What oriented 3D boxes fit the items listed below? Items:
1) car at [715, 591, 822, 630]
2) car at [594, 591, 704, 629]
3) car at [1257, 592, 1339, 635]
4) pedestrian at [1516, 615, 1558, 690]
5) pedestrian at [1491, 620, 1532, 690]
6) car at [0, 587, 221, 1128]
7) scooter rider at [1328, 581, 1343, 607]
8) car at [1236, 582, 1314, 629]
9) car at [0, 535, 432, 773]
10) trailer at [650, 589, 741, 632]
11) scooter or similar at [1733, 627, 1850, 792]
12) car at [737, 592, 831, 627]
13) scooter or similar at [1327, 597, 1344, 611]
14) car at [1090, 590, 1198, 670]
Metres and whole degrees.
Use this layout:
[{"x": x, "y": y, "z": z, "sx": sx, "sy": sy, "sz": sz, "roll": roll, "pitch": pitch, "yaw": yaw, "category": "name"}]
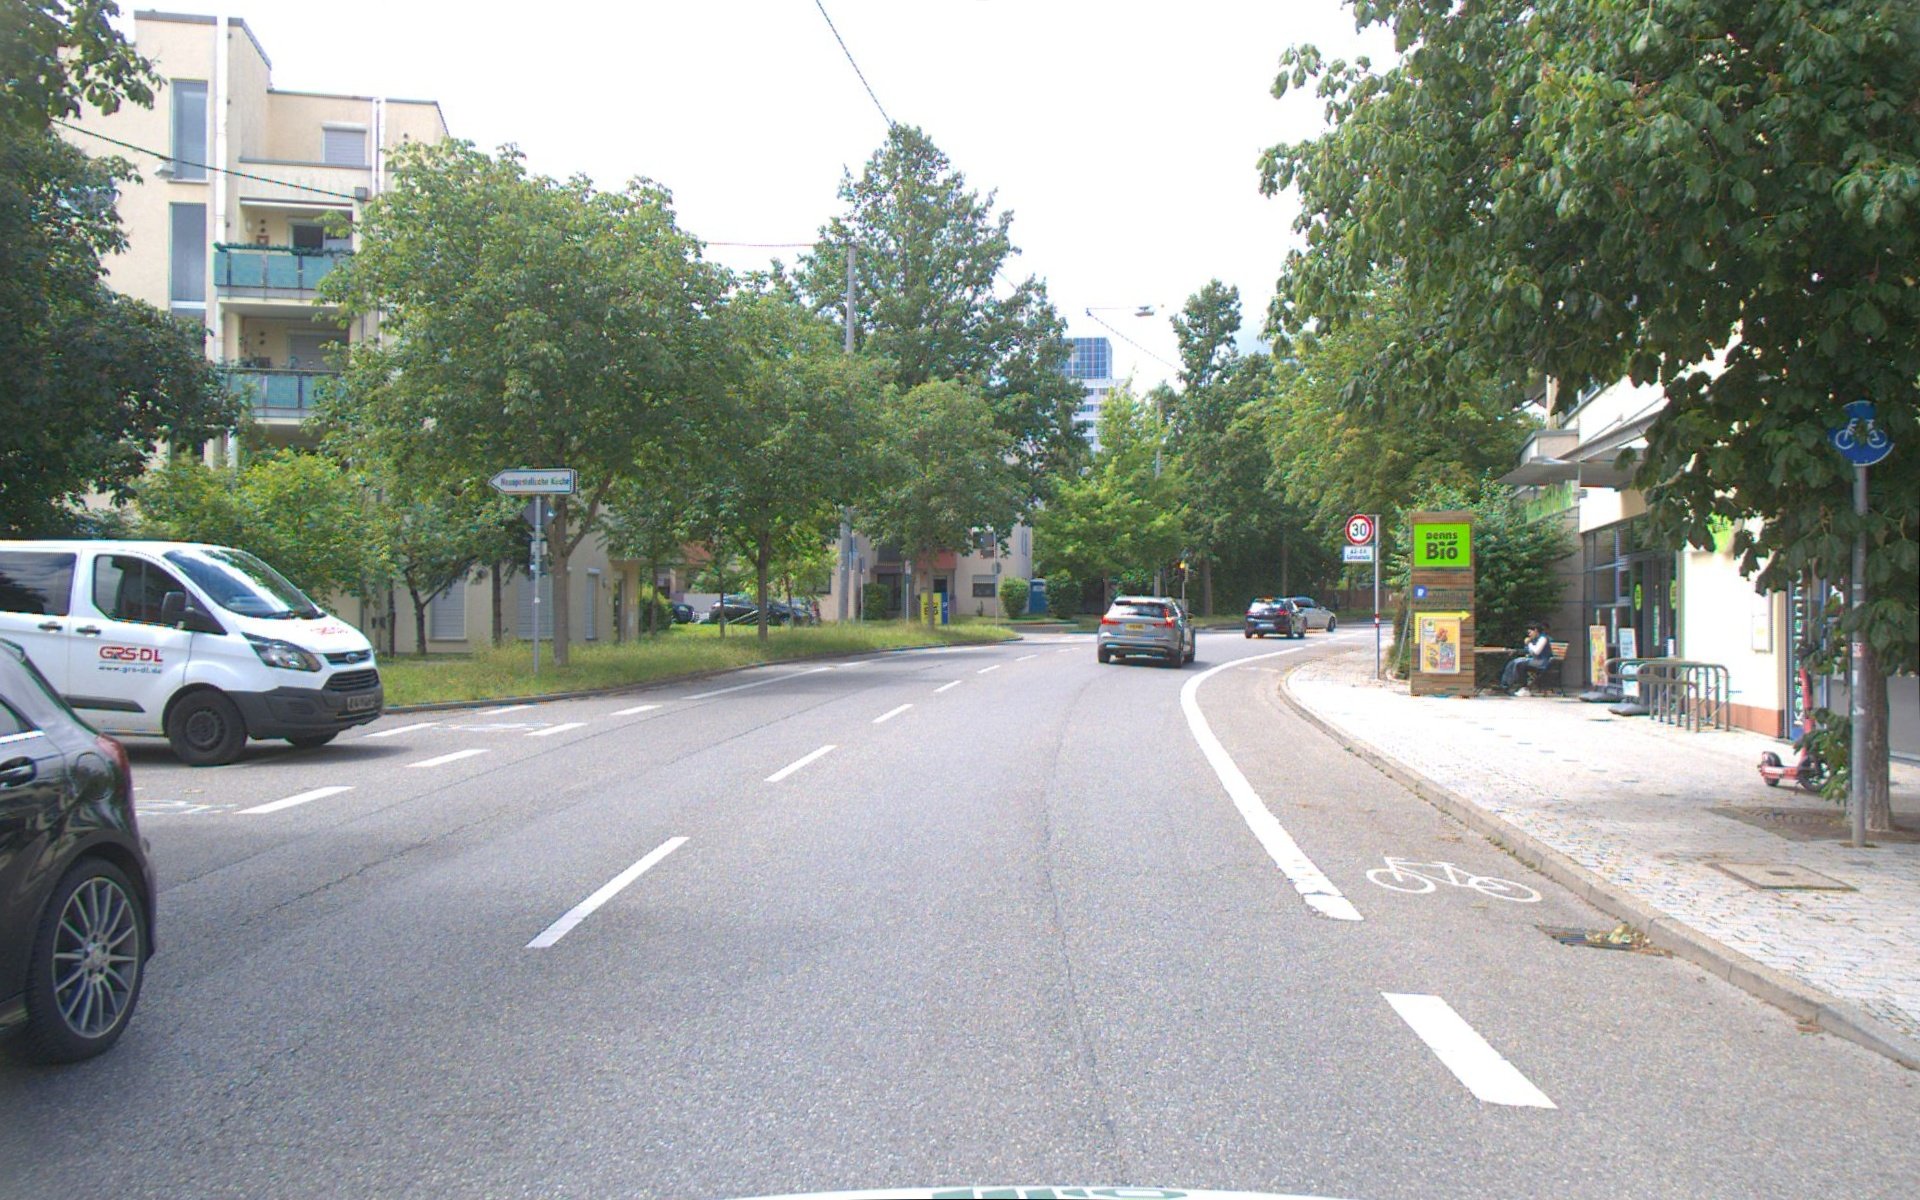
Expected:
[{"x": -7.805, "y": 0.450, "z": 67.721, "sx": 3.991, "sy": 1.424, "sz": 1.796, "roll": 1, "pitch": -4, "yaw": 7, "category": "car"}, {"x": -12.848, "y": 0.395, "z": 68.460, "sx": 4.086, "sy": 1.550, "sz": 1.903, "roll": 0, "pitch": 0, "yaw": 7, "category": "car"}, {"x": 14.627, "y": 0.616, "z": 71.467, "sx": 1.775, "sy": 1.644, "sz": 4.312, "roll": 4, "pitch": 0, "yaw": 36, "category": "car"}, {"x": 9.717, "y": 0.880, "z": 27.855, "sx": 0.564, "sy": 1.225, "sz": 0.503, "roll": 1, "pitch": -1, "yaw": 8, "category": "pedestrian"}, {"x": 9.548, "y": 0.946, "z": 28.664, "sx": 0.511, "sy": 1.202, "sz": 0.501, "roll": 1, "pitch": -1, "yaw": -3, "category": "pedestrian"}, {"x": -3.553, "y": 0.764, "z": 3.803, "sx": 1.652, "sy": 1.508, "sz": 4.227, "roll": -3, "pitch": 0, "yaw": 1, "category": "car"}, {"x": 25.404, "y": -0.409, "z": 111.881, "sx": 0.694, "sy": 1.758, "sz": 0.676, "roll": 2, "pitch": -1, "yaw": -19, "category": "scooter rider"}, {"x": 11.449, "y": 0.181, "z": 59.977, "sx": 1.769, "sy": 1.549, "sz": 4.327, "roll": 4, "pitch": 2, "yaw": 24, "category": "car"}, {"x": -7.962, "y": 0.500, "z": 15.766, "sx": 5.101, "sy": 2.028, "sz": 2.110, "roll": -2, "pitch": 1, "yaw": 7, "category": "car"}, {"x": -12.332, "y": 0.483, "z": 77.291, "sx": 3.824, "sy": 1.830, "sz": 1.631, "roll": 1, "pitch": -4, "yaw": 5, "category": "trailer"}, {"x": 7.181, "y": 0.913, "z": 14.337, "sx": 0.373, "sy": 1.339, "sz": 1.460, "roll": 1, "pitch": -1, "yaw": 5, "category": "scooter or similar"}, {"x": -8.156, "y": 0.457, "z": 76.731, "sx": 3.991, "sy": 1.424, "sz": 1.796, "roll": 1, "pitch": -4, "yaw": 7, "category": "car"}, {"x": 25.390, "y": 0.266, "z": 111.877, "sx": 0.938, "sy": 0.978, "sz": 0.686, "roll": 1, "pitch": 0, "yaw": -20, "category": "scooter or similar"}, {"x": 4.212, "y": 0.617, "z": 37.272, "sx": 1.914, "sy": 1.549, "sz": 4.333, "roll": 3, "pitch": 1, "yaw": 12, "category": "car"}]
